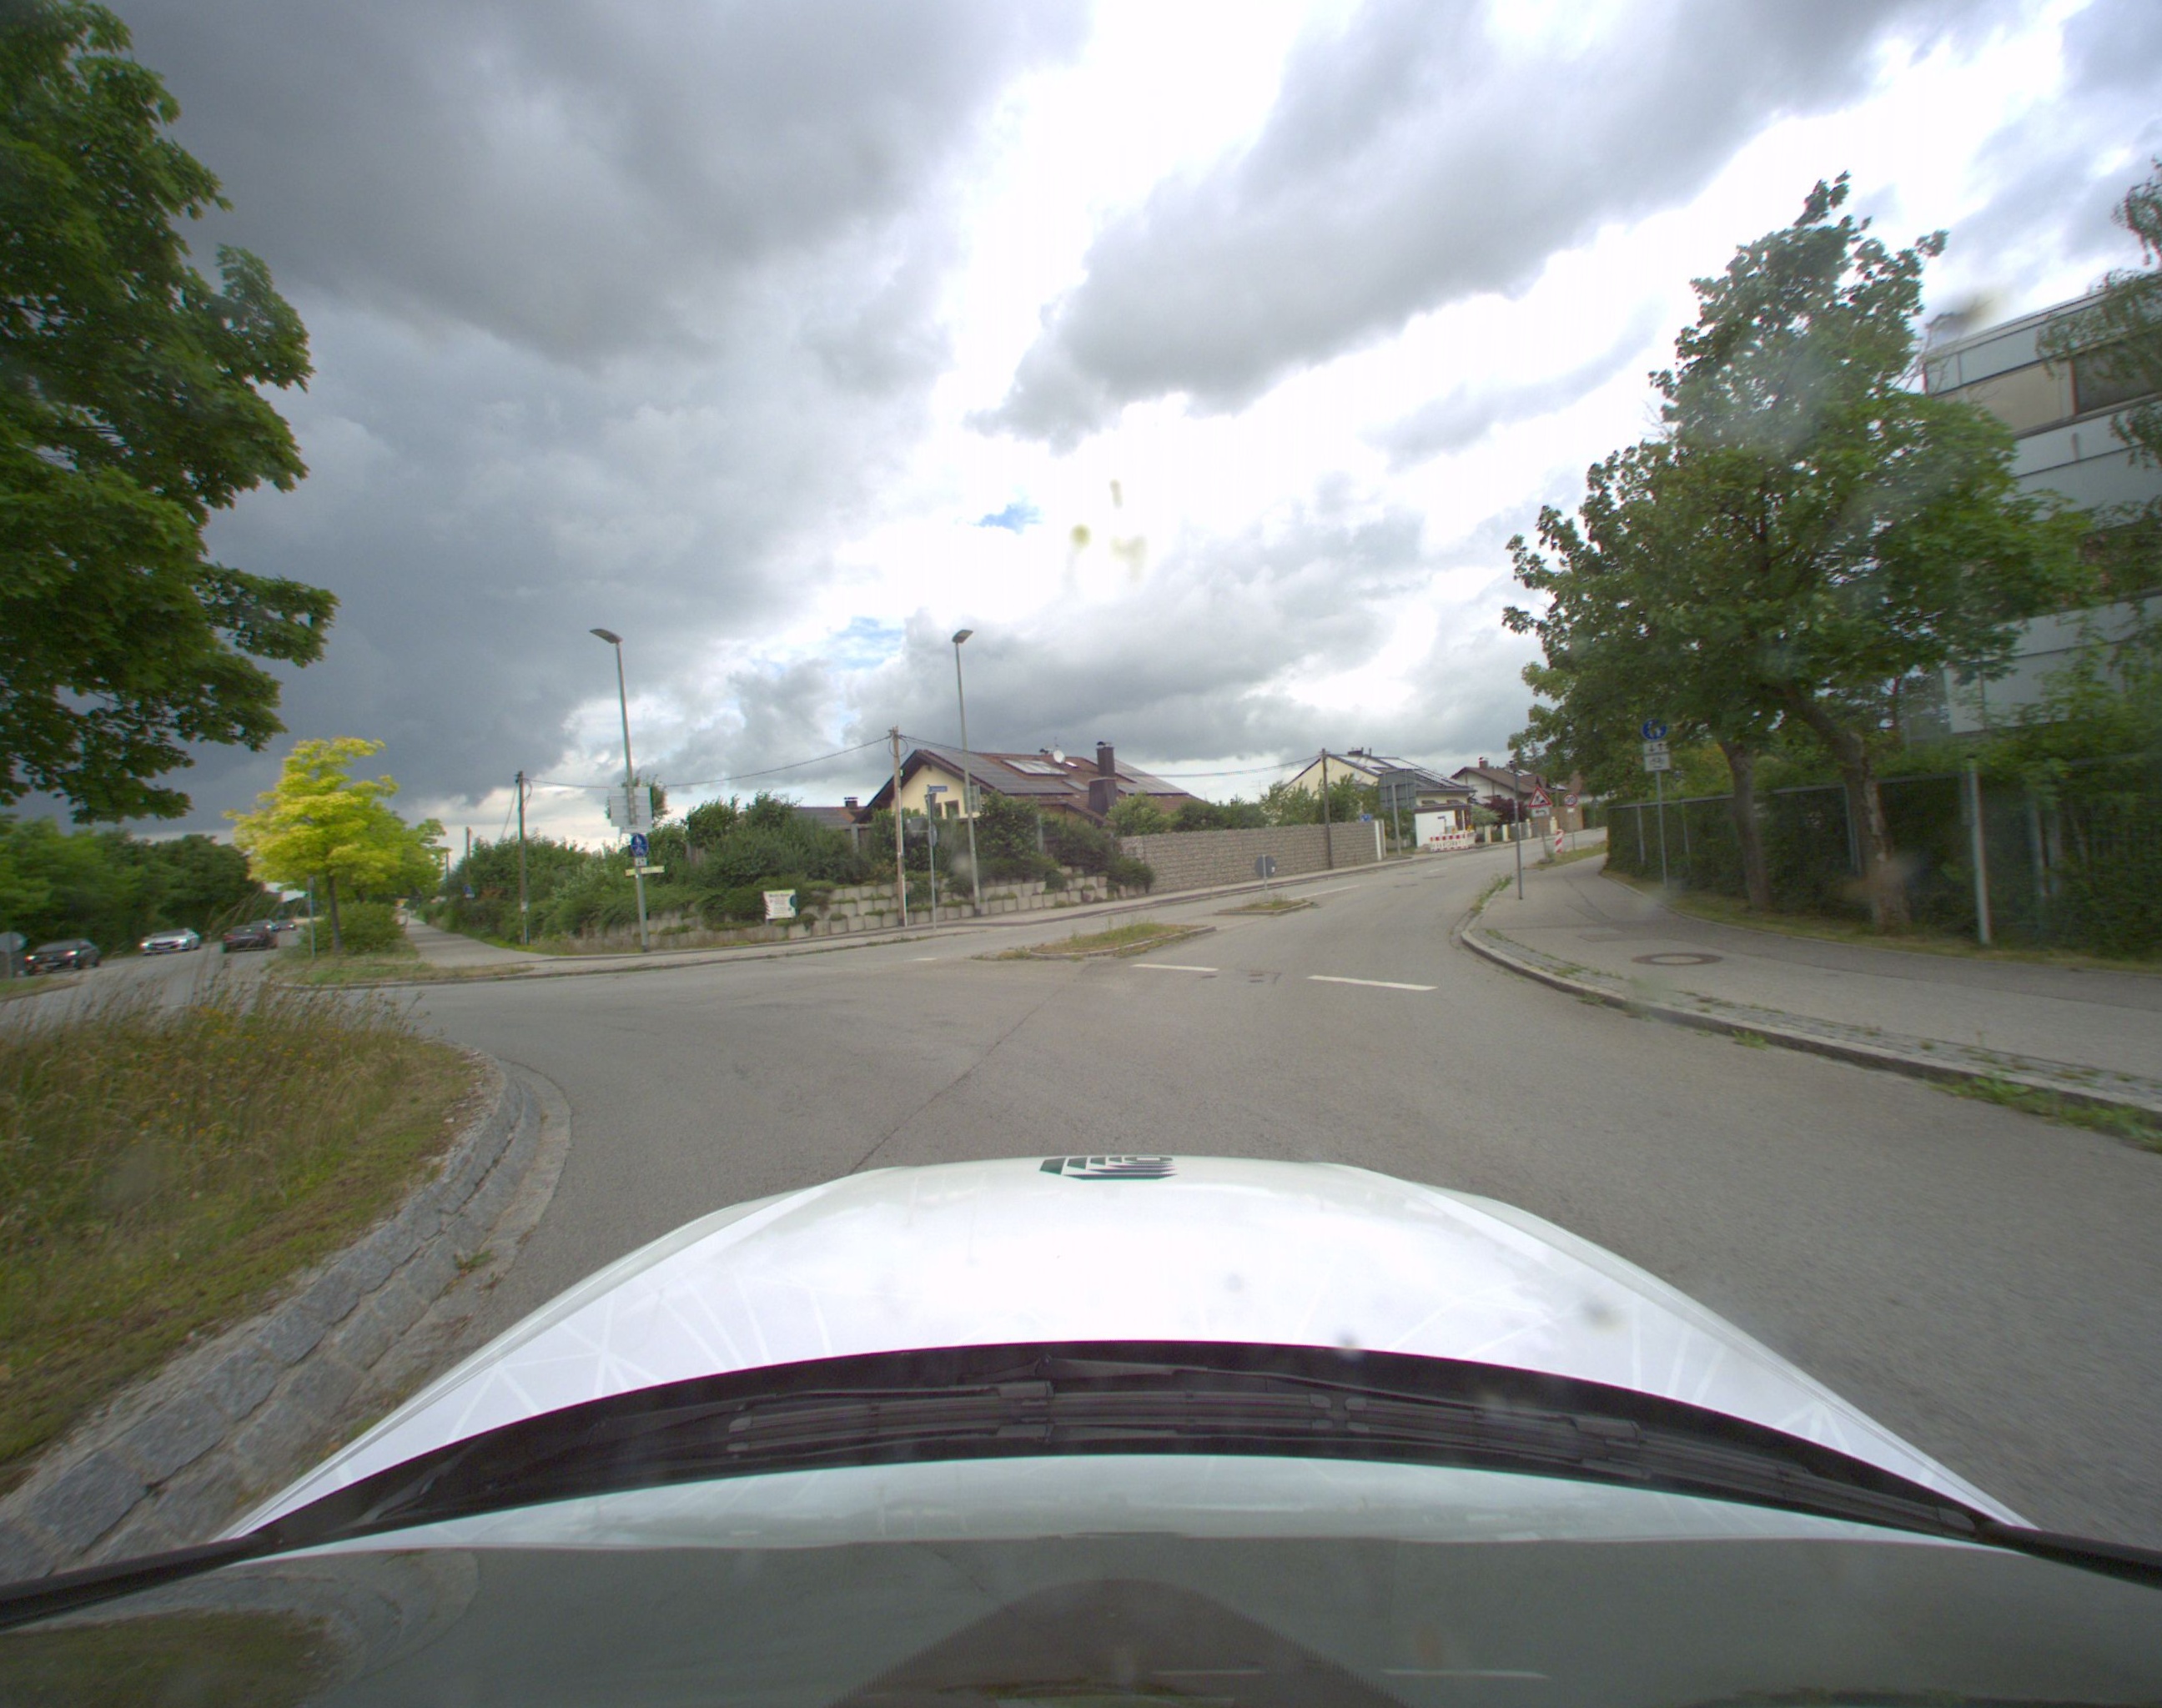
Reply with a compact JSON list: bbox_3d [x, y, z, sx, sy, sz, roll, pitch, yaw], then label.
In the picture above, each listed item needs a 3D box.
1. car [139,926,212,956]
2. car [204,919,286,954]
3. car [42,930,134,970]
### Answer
[{"bbox_3d":[-57.679,5.495,51.963,2.231,1.454,4.886,-2,-1,-38],"label":"car"},{"bbox_3d":[-45.585,4.457,44.514,2.227,1.454,4.888,-2,-1,-35],"label":"car"},{"bbox_3d":[-46.688,4.477,38.401,1.695,1.454,3.956,-2,-1,-35],"label":"car"}]
